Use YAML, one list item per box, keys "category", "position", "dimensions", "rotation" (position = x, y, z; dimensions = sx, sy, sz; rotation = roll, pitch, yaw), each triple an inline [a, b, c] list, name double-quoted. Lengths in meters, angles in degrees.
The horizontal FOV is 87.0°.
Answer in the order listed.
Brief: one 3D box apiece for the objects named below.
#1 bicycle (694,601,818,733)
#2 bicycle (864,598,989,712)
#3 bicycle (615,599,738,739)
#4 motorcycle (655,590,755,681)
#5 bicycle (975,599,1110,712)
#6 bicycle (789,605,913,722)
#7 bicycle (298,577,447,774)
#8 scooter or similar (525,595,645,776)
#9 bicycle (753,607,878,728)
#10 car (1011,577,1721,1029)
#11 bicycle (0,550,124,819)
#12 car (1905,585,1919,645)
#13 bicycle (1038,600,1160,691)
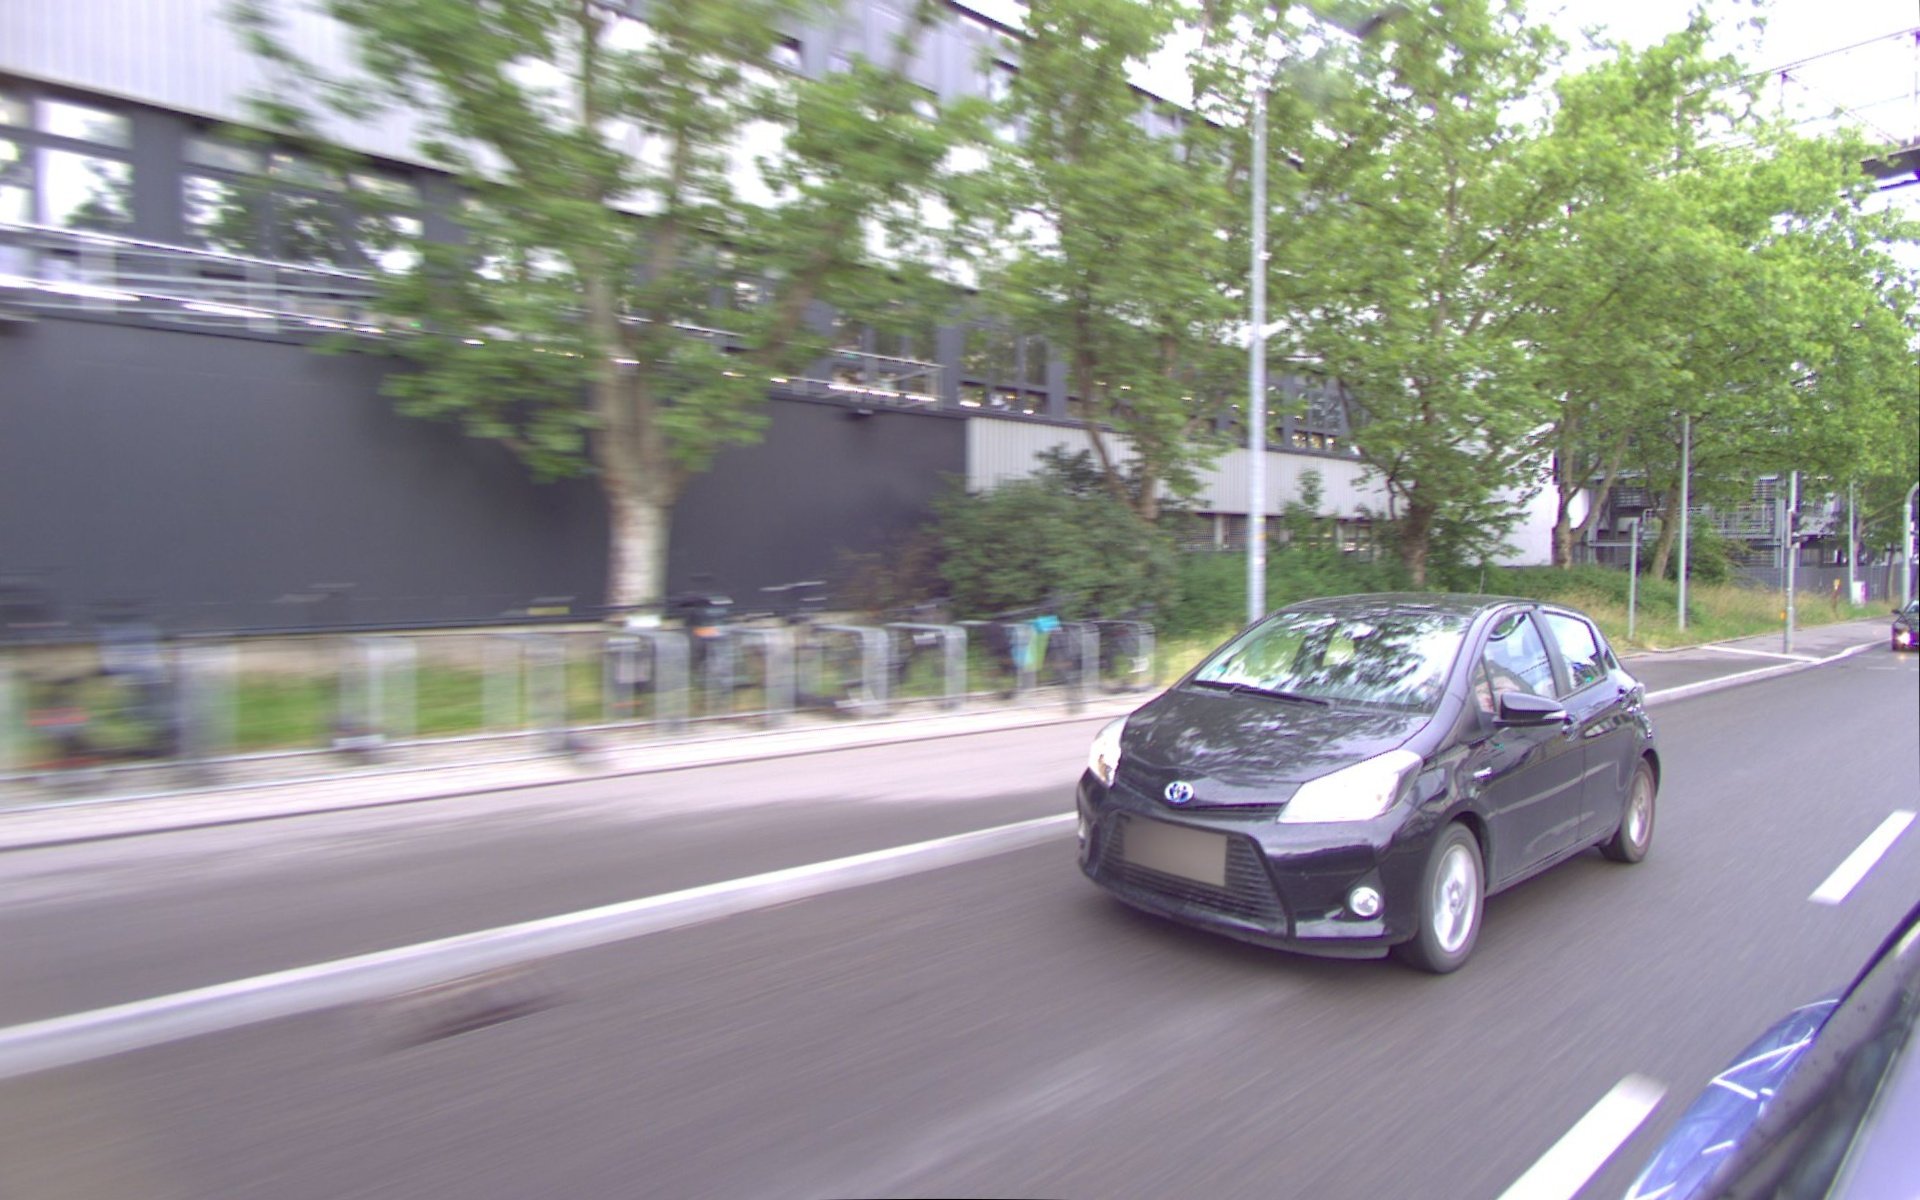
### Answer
- category: "bicycle"
  position: [-1.878, 0.562, 9.179]
  dimensions: [0.386, 1.017, 1.555]
  rotation: [0, 3, -40]
- category: "bicycle"
  position: [-0.374, 0.529, 10.418]
  dimensions: [0.386, 1.017, 1.555]
  rotation: [0, 3, -40]
- category: "bicycle"
  position: [-2.432, 0.537, 8.585]
  dimensions: [0.386, 1.017, 1.555]
  rotation: [0, 3, -40]
- category: "motorcycle"
  position: [-3.250, 0.413, 12.809]
  dimensions: [0.567, 1.014, 1.611]
  rotation: [-1, 3, -40]
- category: "bicycle"
  position: [0.826, 0.538, 10.517]
  dimensions: [0.386, 1.017, 1.555]
  rotation: [0, 3, -40]
- category: "bicycle"
  position: [-1.093, 0.578, 9.867]
  dimensions: [0.386, 0.970, 1.555]
  rotation: [0, 3, -40]
- category: "bicycle"
  position: [-4.169, 0.455, 7.122]
  dimensions: [1.789, 1.181, 0.441]
  rotation: [4, 3, 44]
- category: "scooter or similar"
  position: [-2.627, 0.549, 7.037]
  dimensions: [0.307, 1.104, 1.214]
  rotation: [-1, 3, -44]
- category: "bicycle"
  position: [-1.399, 0.596, 9.595]
  dimensions: [0.386, 0.970, 1.555]
  rotation: [0, 3, -40]
- category: "car"
  position: [2.519, 0.631, 5.553]
  dimensions: [4.560, 1.488, 1.748]
  rotation: [-2, 2, -41]
- category: "bicycle"
  position: [-5.460, 0.401, 5.958]
  dimensions: [1.854, 1.364, 0.442]
  rotation: [3, 3, 38]
- category: "car"
  position: [25.869, 0.349, 26.101]
  dimensions: [4.439, 1.448, 1.748]
  rotation: [-2, 2, -41]
- category: "bicycle"
  position: [1.654, 0.524, 12.287]
  dimensions: [0.380, 0.951, 1.611]
  rotation: [-1, 3, -40]
